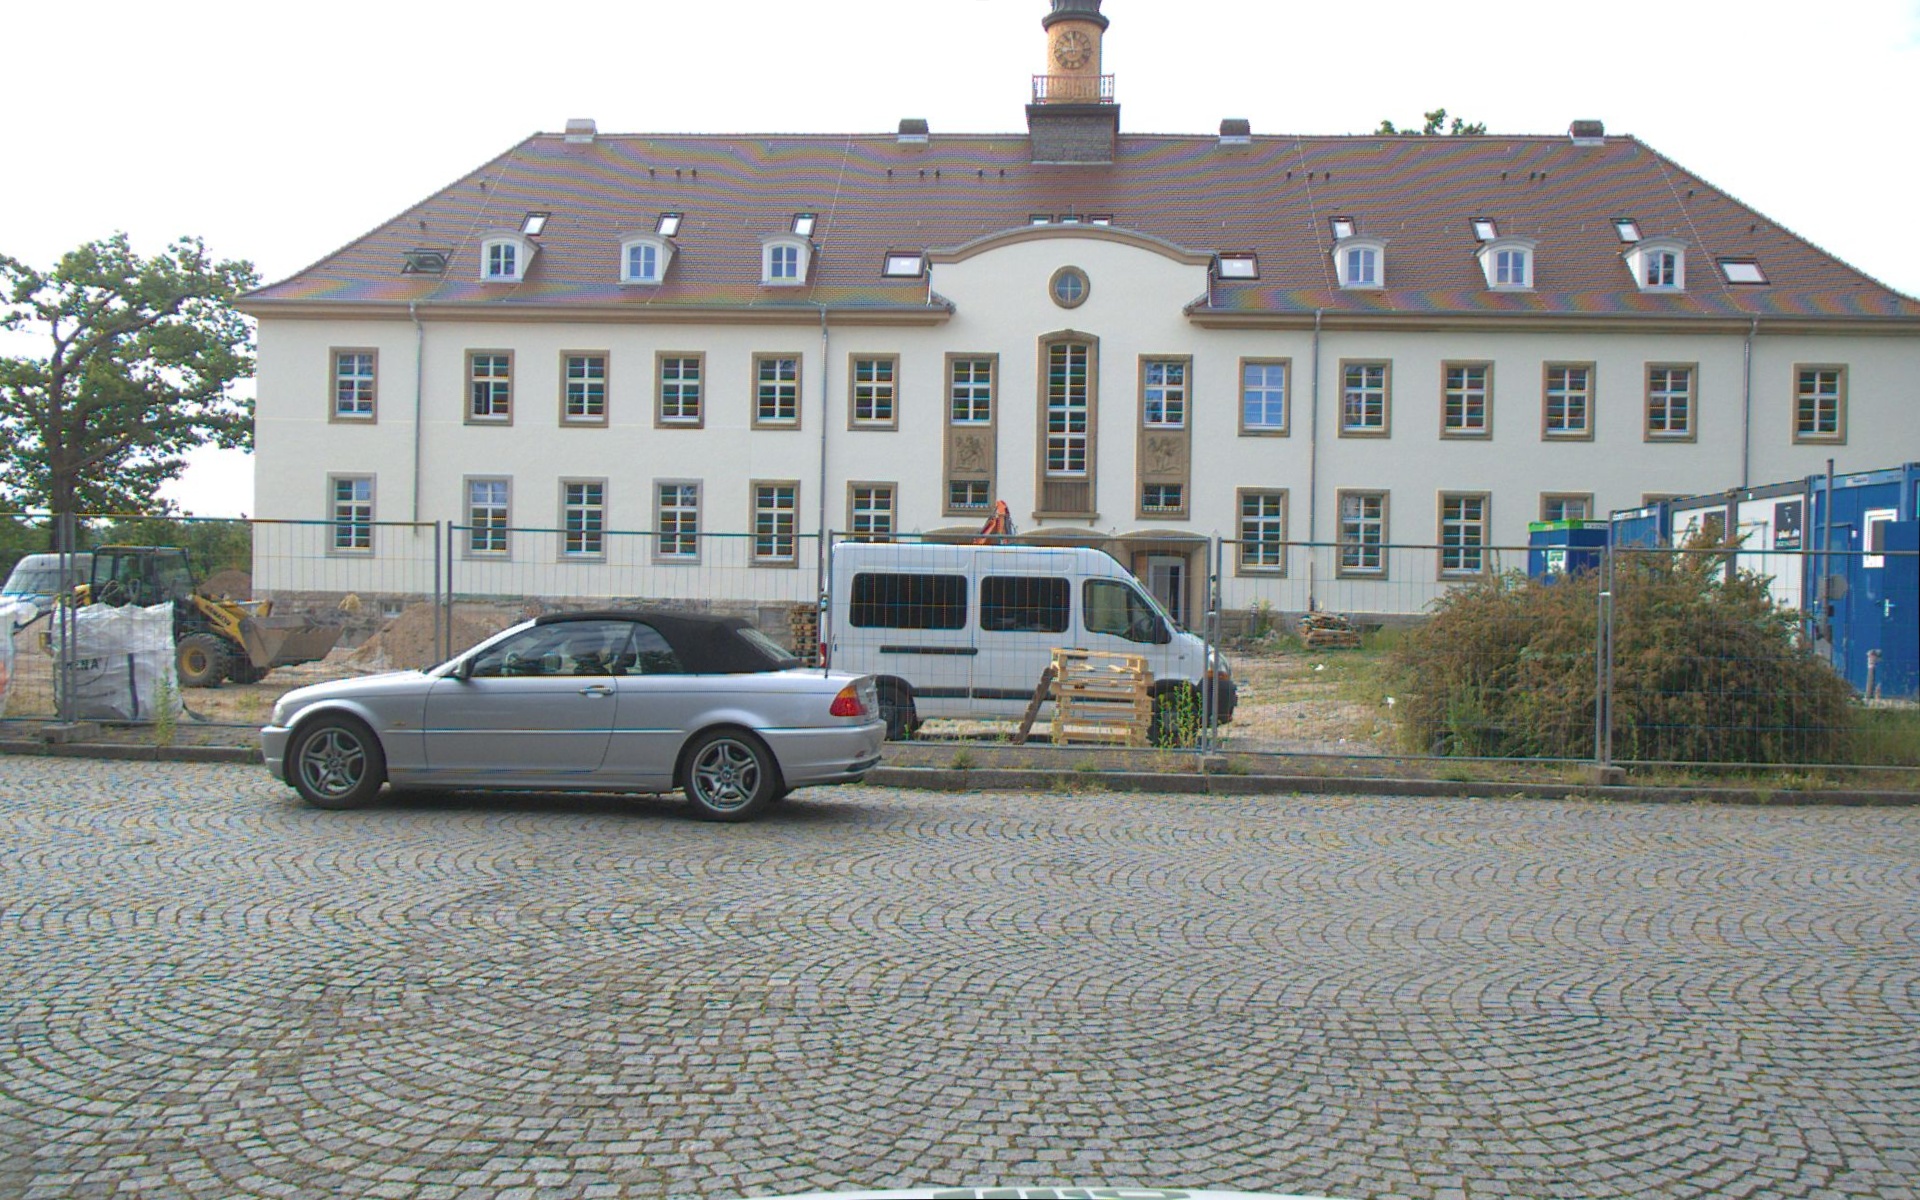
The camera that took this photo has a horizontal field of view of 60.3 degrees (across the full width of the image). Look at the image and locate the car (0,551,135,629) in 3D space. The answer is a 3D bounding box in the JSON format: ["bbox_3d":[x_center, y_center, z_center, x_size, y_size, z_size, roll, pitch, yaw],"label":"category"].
[{"bbox_3d":[-26.796,-0.282,49.400,2.026,2.188,4.896,1,0,-3],"label":"car"}]

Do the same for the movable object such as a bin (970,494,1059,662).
[{"bbox_3d":[1.264,-0.505,40.710,1.953,3.837,5.317,1,0,0],"label":"movable object such as a bin"}]

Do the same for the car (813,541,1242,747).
[{"bbox_3d":[0.874,0.519,20.998,5.152,2.385,1.911,1,0,5],"label":"car"}]

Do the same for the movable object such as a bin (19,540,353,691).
[{"bbox_3d":[-14.270,0.276,30.694,5.218,2.601,2.000,1,0,2],"label":"movable object such as a bin"}]

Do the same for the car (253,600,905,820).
[{"bbox_3d":[-2.541,0.744,11.712,4.192,1.370,1.607,1,-2,1],"label":"car"}]
